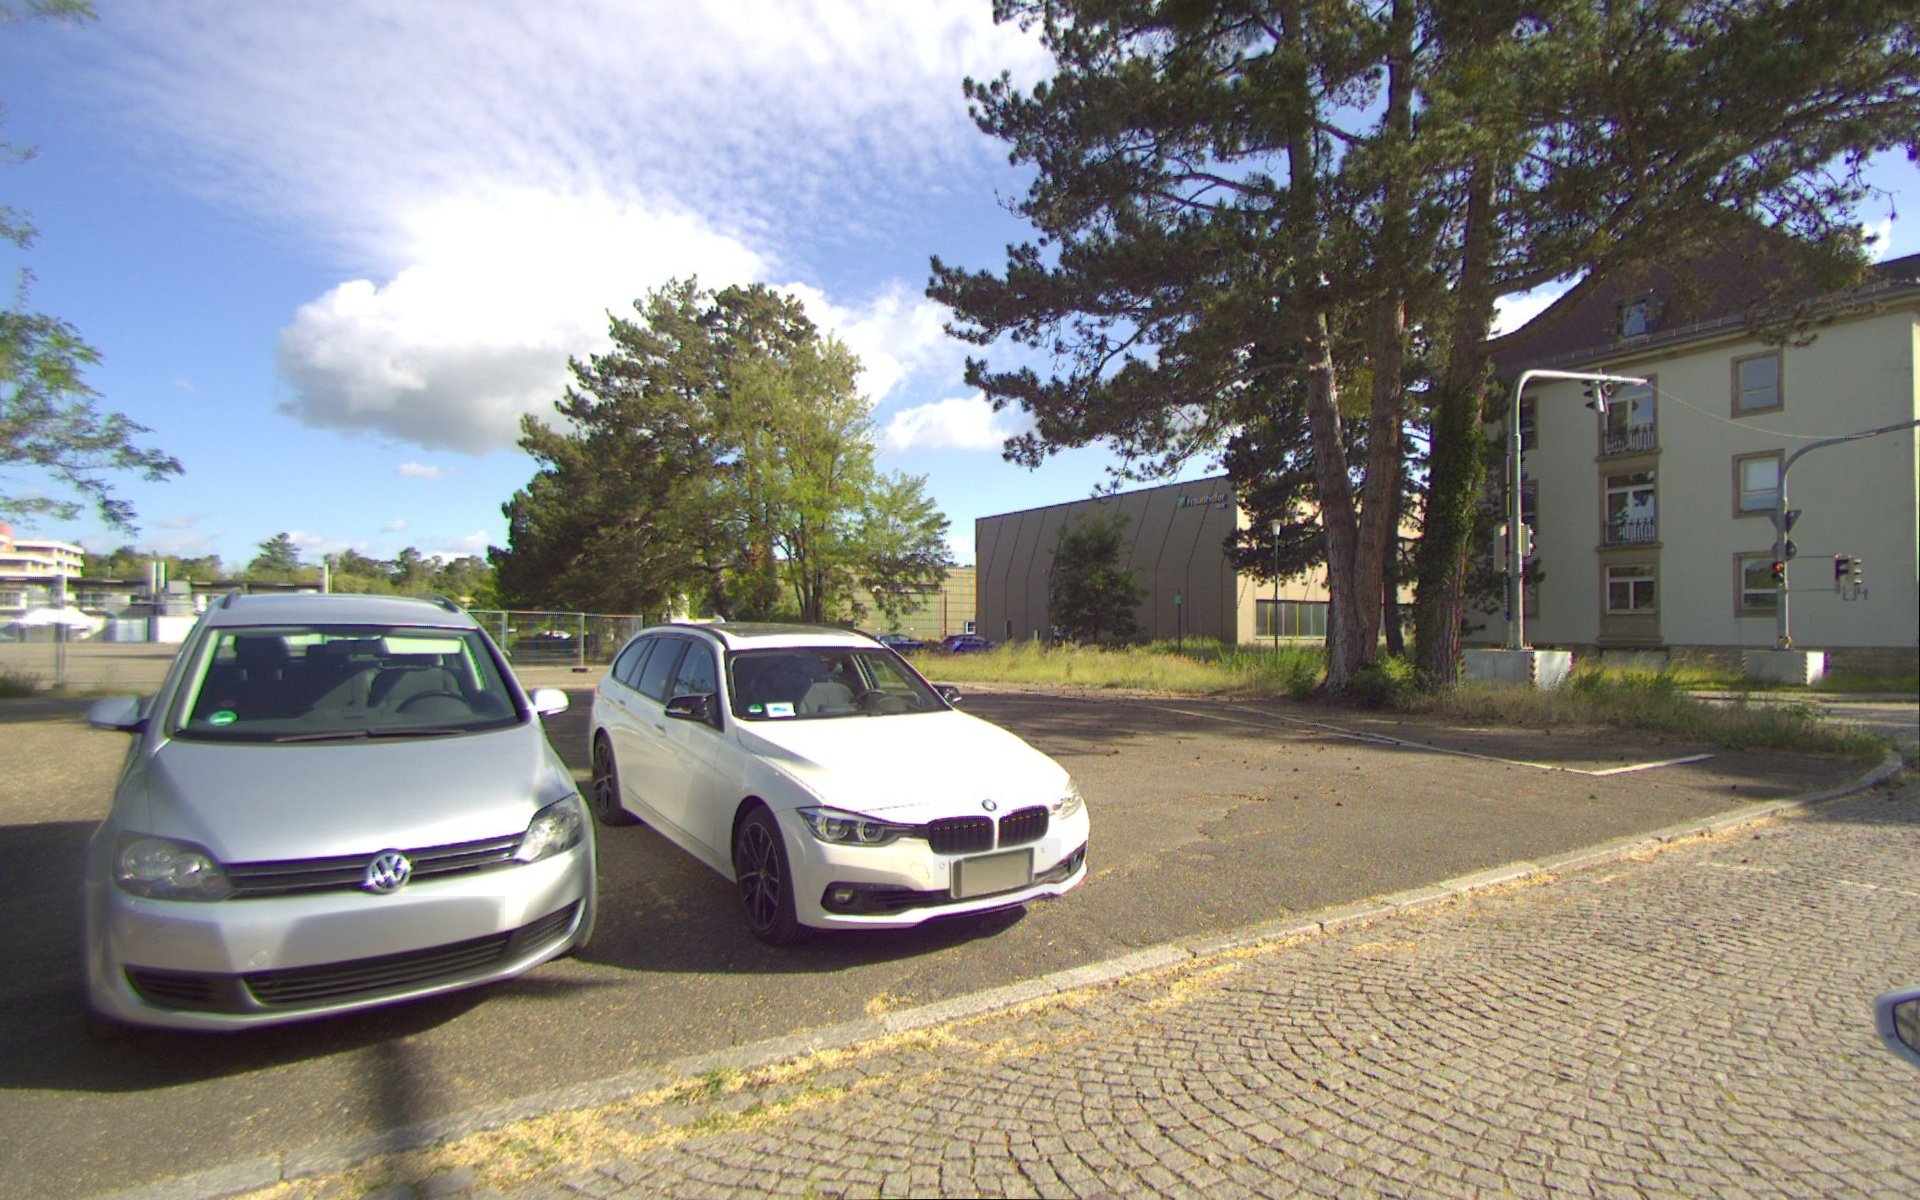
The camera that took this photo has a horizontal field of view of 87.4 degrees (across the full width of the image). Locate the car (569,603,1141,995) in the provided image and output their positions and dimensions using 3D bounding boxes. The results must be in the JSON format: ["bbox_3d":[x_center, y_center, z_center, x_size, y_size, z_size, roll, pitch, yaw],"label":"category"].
[{"bbox_3d":[-1.067,0.829,6.453,1.734,1.487,4.512,1,1,-34],"label":"car"}]

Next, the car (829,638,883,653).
[{"bbox_3d":[-7.443,3.238,71.943,3.634,1.090,1.399,1,-2,-29],"label":"car"}]

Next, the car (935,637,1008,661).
[{"bbox_3d":[0.659,2.771,57.547,4.003,1.311,1.480,1,-2,-30],"label":"car"}]

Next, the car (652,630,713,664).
[{"bbox_3d":[-11.996,2.013,43.236,1.726,1.388,3.594,1,-2,-29],"label":"car"}]

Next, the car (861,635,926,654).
[{"bbox_3d":[-4.317,2.904,65.413,3.951,1.221,1.481,1,-2,-29],"label":"car"}]

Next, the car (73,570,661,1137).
[{"bbox_3d":[-3.014,0.711,5.017,1.705,1.648,3.916,1,1,-36],"label":"car"}]
